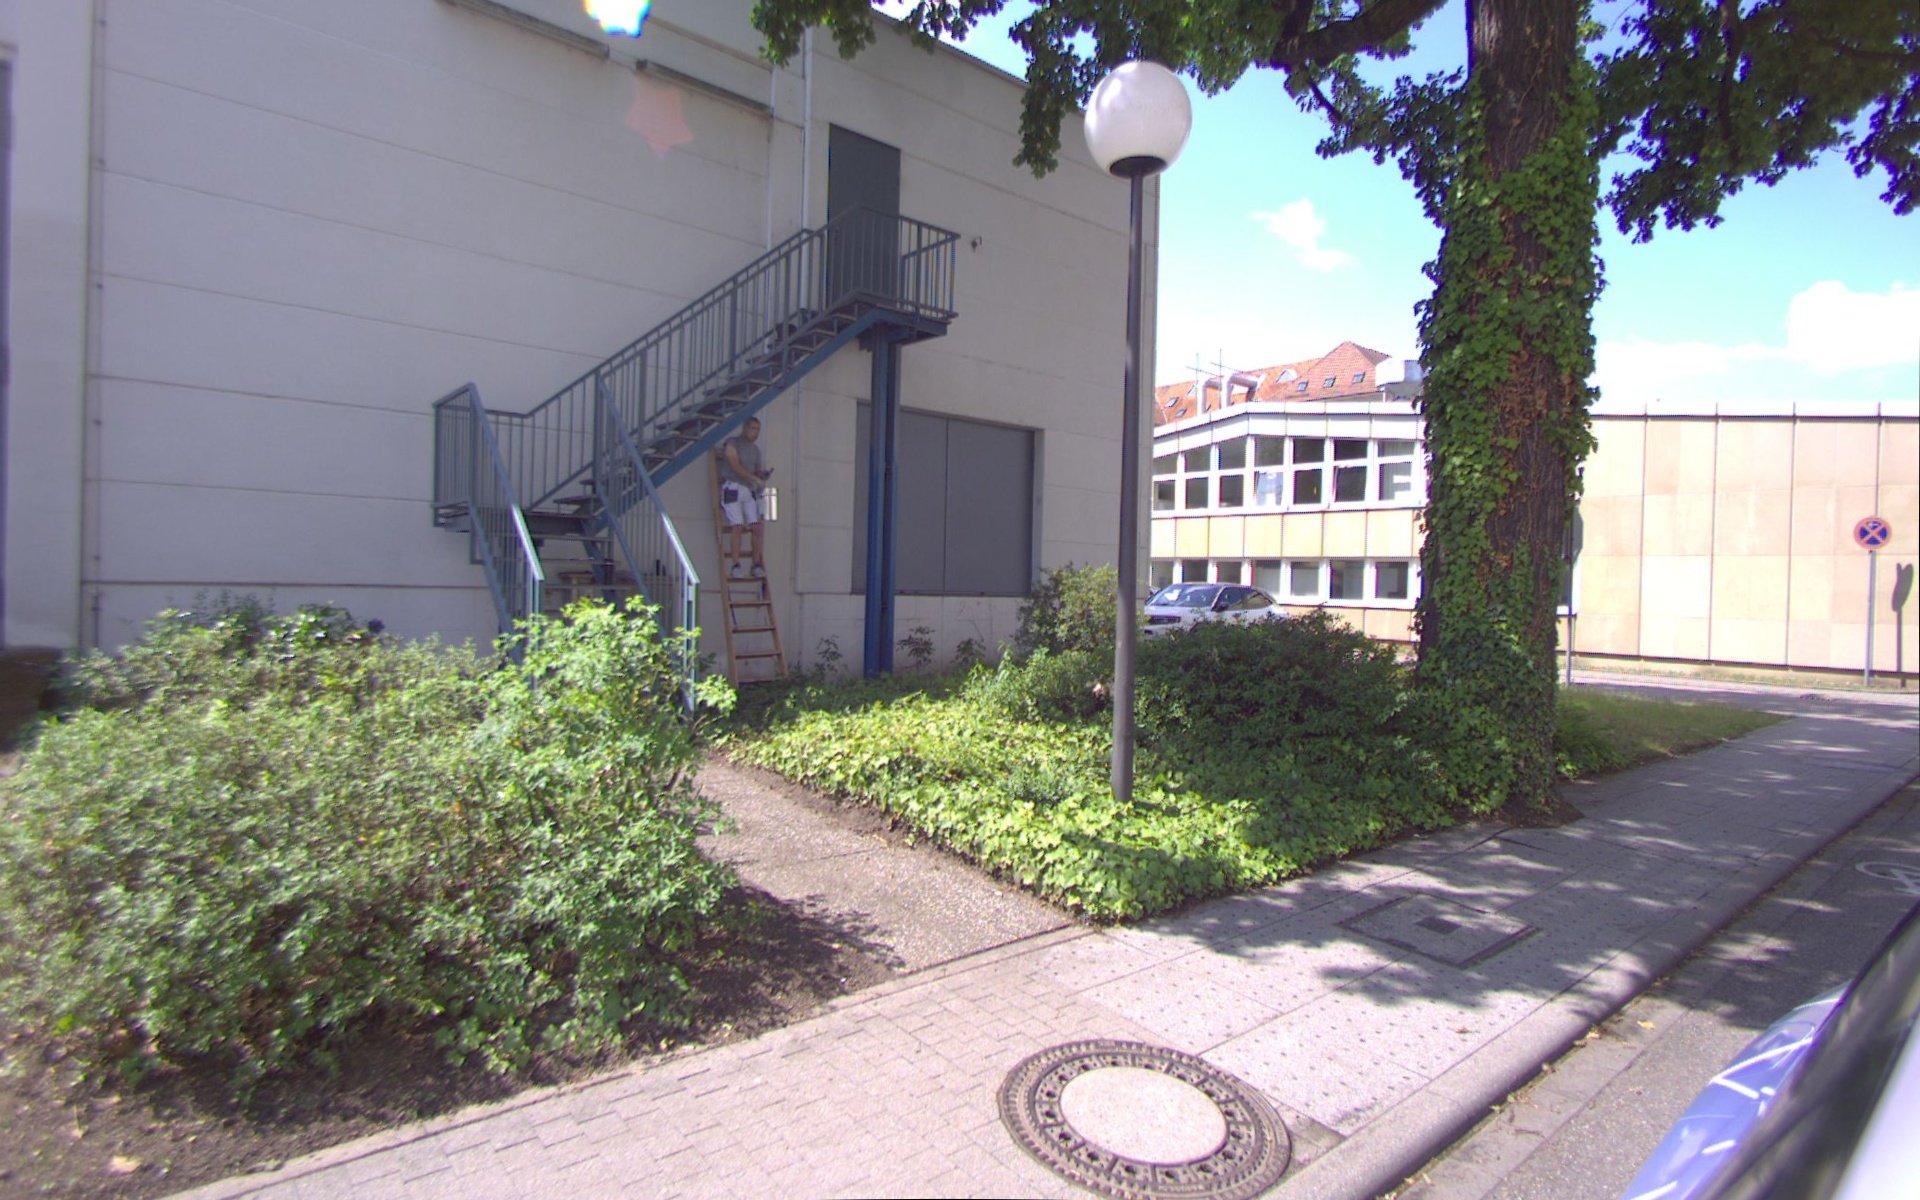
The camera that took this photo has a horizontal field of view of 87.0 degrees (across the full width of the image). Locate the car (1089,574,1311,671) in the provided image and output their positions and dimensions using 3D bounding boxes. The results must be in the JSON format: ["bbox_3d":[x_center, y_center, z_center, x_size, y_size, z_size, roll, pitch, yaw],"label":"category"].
[{"bbox_3d":[4.278,0.337,17.733,4.108,1.495,1.670,0,1,-41],"label":"car"}]

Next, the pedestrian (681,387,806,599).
[{"bbox_3d":[-2.243,-1.051,10.439,0.932,2.039,0.930,1,1,-37],"label":"pedestrian"}]

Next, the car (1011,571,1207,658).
[{"bbox_3d":[3.102,0.255,20.705,3.929,1.598,1.829,0,1,-40],"label":"car"}]
